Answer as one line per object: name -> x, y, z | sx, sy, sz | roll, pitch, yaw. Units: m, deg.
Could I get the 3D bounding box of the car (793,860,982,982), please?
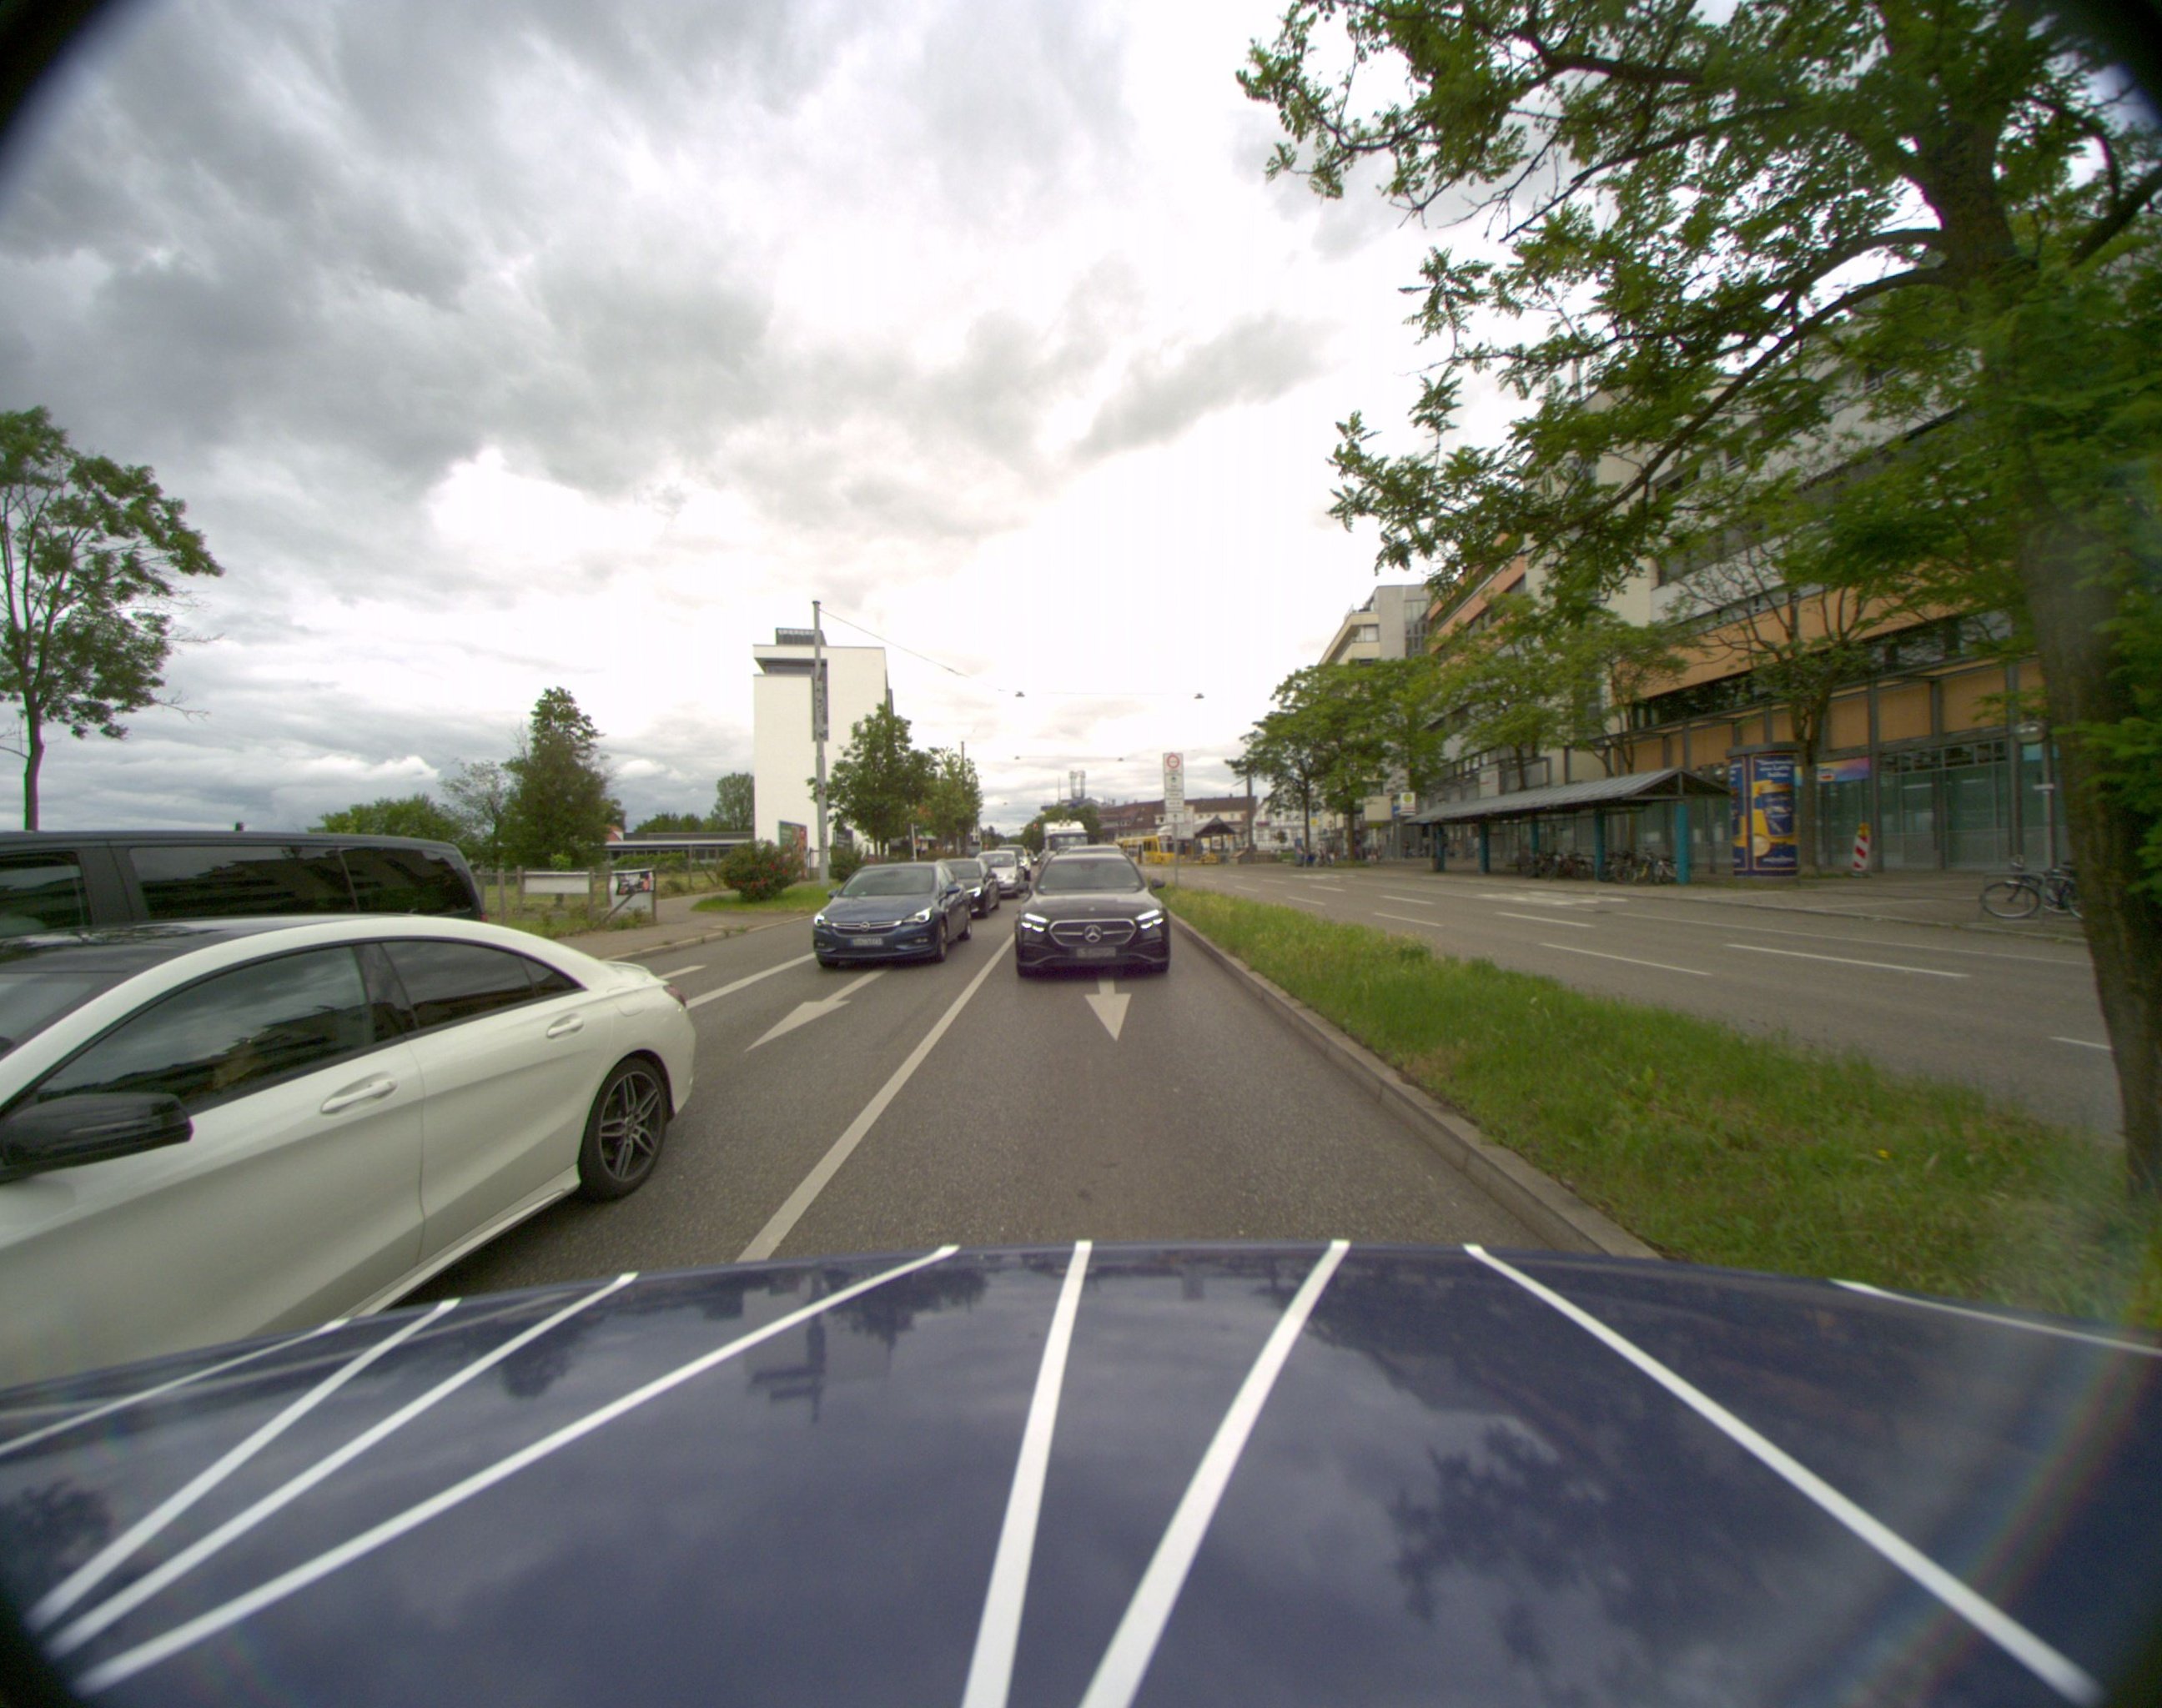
car -> -2.780, 0.883, 11.978 | 1.798, 1.464, 4.310 | -1, 1, 1

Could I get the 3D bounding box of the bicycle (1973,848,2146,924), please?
bicycle -> 17.099, 0.523, 13.365 | 0.521, 1.218, 1.948 | -3, 1, 1

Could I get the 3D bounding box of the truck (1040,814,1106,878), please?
truck -> -0.577, -0.419, 42.811 | 3.120, 3.209, 6.521 | -3, 1, -5

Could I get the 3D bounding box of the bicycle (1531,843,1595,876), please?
bicycle -> 18.302, 0.191, 28.850 | 2.069, 1.132, 0.542 | -3, 1, -1

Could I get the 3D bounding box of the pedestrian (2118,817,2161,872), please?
pedestrian -> 27.721, -0.252, 19.836 | 0.462, 1.424, 0.580 | -1, 1, 1

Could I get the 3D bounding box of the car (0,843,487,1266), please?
car -> -5.835, 0.906, 3.774 | 2.015, 1.877, 4.873 | -1, 1, -2

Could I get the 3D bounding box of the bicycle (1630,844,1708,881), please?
bicycle -> 18.889, 0.266, 24.424 | 2.206, 1.084, 0.542 | -3, 1, -6

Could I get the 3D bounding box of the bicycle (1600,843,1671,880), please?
bicycle -> 18.567, 0.253, 25.454 | 2.070, 1.132, 0.542 | -3, 1, -6

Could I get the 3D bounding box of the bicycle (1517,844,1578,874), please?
bicycle -> 18.270, 0.183, 29.765 | 2.069, 1.084, 0.542 | -3, 1, -1

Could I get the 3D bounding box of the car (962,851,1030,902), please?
car -> -2.892, 0.712, 26.718 | 1.798, 1.590, 4.310 | -1, 1, 1

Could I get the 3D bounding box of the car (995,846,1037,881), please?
car -> -3.412, 0.465, 40.761 | 2.021, 1.760, 3.999 | -1, 0, -2

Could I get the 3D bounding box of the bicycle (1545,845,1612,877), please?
bicycle -> 18.191, 0.247, 27.787 | 2.069, 1.084, 0.542 | -3, 1, -1

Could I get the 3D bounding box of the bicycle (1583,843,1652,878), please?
bicycle -> 18.573, 0.221, 26.315 | 2.070, 1.084, 0.542 | -3, 1, -6

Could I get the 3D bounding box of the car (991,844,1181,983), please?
car -> 0.046, 0.622, 10.825 | 2.058, 1.477, 4.972 | -1, 1, 0

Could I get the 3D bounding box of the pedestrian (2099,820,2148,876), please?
pedestrian -> 27.154, -0.153, 19.794 | 0.462, 1.424, 0.580 | -1, 1, 1

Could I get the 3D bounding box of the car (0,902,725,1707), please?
car -> -3.053, 1.064, 2.139 | 1.798, 1.464, 4.699 | -1, 1, 1

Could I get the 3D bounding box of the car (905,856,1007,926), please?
car -> -3.032, 0.849, 19.357 | 1.798, 1.464, 4.310 | -1, 1, 1

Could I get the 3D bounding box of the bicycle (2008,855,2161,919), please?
bicycle -> 18.303, 0.554, 13.754 | 0.521, 1.021, 2.050 | -3, 1, 1
